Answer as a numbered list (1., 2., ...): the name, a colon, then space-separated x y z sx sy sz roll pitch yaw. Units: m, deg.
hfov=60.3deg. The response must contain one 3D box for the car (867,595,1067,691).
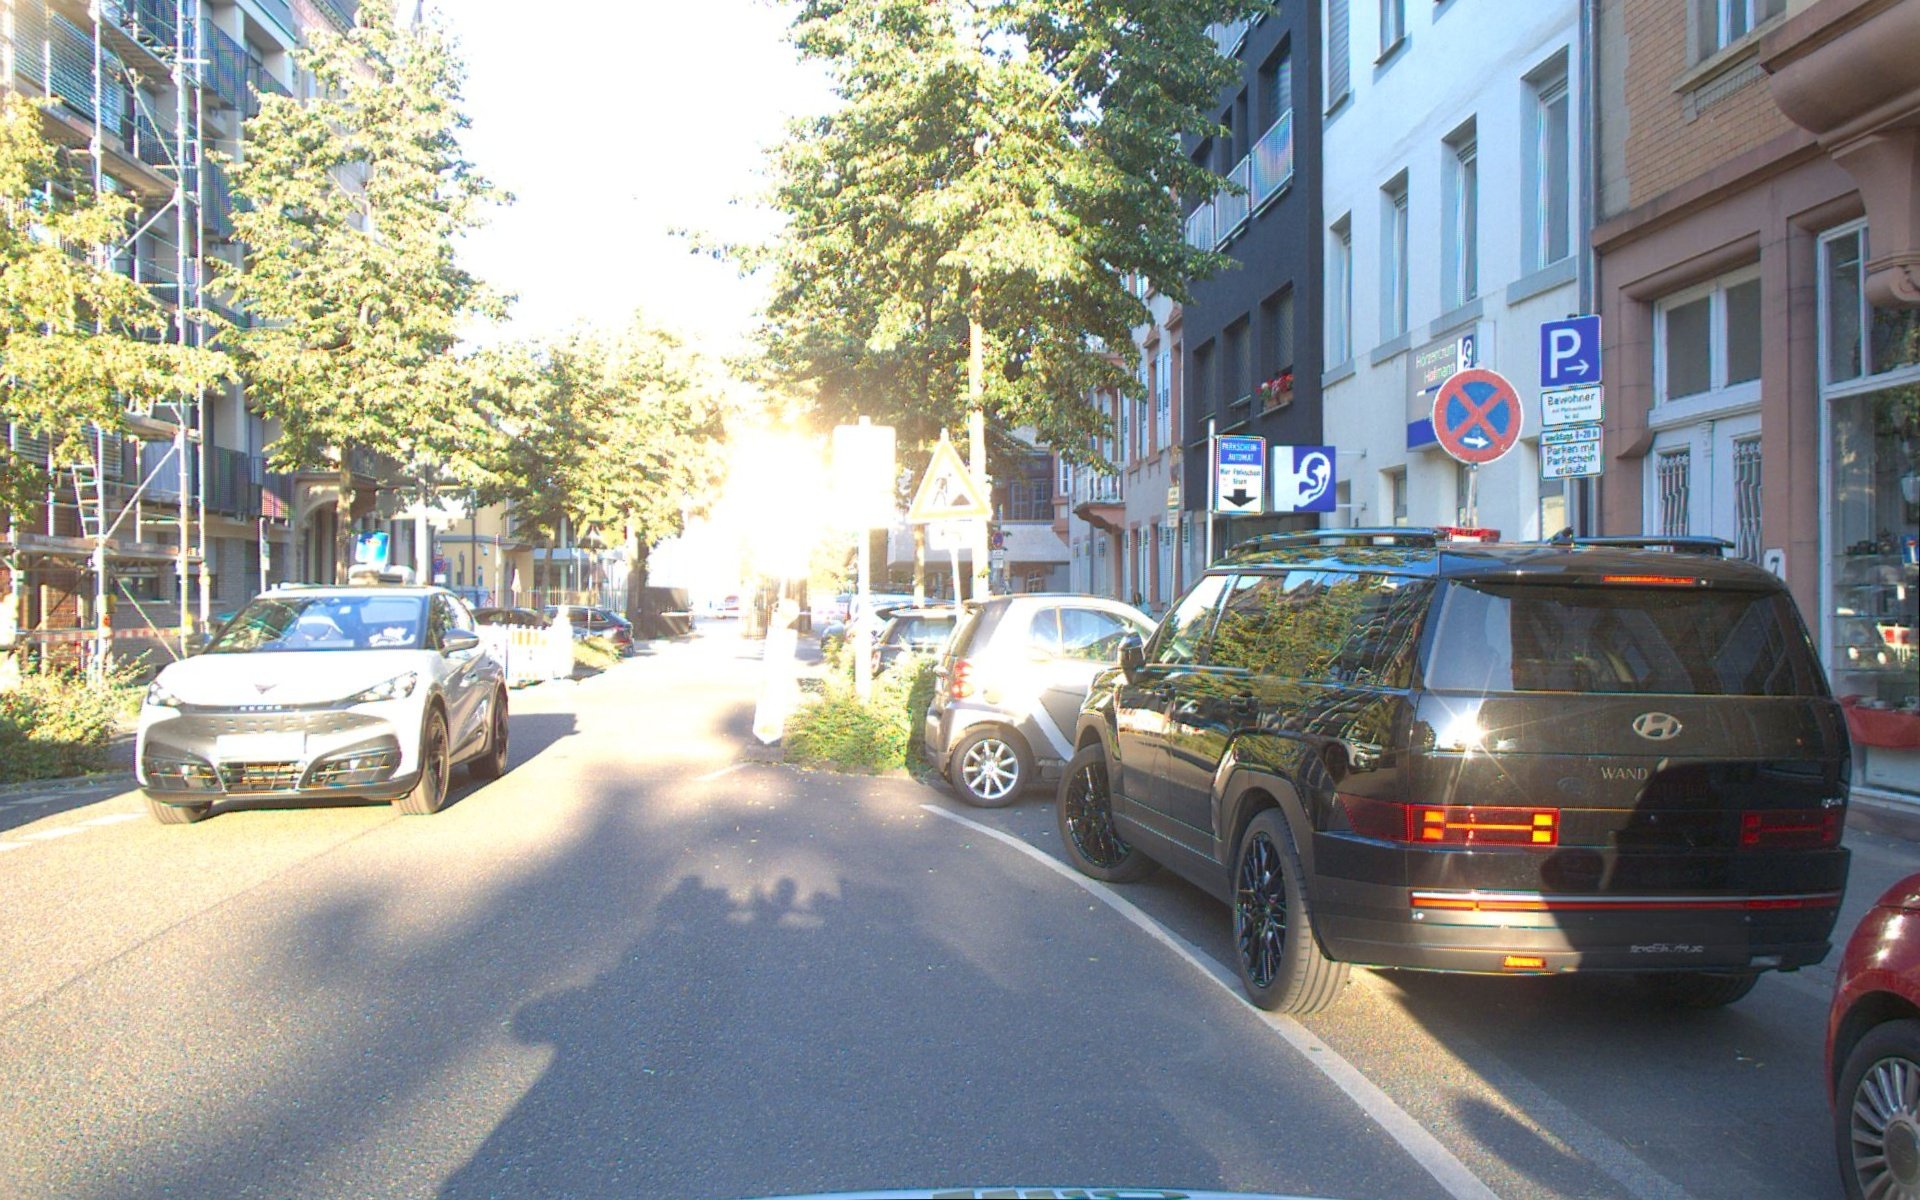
1. car: 0.085 0.795 31.329 3.614 1.699 1.856 1 0 -6

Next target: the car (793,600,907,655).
1. car: -3.378 0.845 51.463 1.817 1.595 3.690 1 0 29

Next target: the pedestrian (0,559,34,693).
1. pedestrian: -13.250 0.358 22.701 0.727 1.814 0.656 -1 0 -5

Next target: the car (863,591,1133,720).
1. car: 0.482 0.762 23.437 3.614 1.699 1.856 1 0 -6

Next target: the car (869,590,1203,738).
1. car: 0.874 0.773 20.567 3.918 1.699 1.856 1 0 -6

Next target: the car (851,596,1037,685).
1. car: -0.367 0.803 33.658 3.614 1.699 1.856 1 0 -6

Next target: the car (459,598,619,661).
1. car: -11.534 0.795 45.502 3.906 1.713 1.890 0 0 -1

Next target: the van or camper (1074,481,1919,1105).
1. van or camper: 1.887 0.571 7.226 1.854 1.839 4.452 0 0 -9

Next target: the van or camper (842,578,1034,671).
1. van or camper: -0.564 0.569 38.852 4.354 2.041 1.856 1 0 -6

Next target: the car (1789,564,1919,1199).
1. car: 2.976 0.726 2.644 1.495 1.597 3.420 1 0 -2

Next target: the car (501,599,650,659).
1. car: -11.168 0.817 48.207 3.906 1.713 1.890 0 0 -1

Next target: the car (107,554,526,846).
1. car: -4.563 0.622 12.461 1.837 1.727 4.315 -2 0 -7

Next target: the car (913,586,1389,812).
1. car: 1.441 0.707 12.940 3.409 1.603 1.503 0 0 -12
